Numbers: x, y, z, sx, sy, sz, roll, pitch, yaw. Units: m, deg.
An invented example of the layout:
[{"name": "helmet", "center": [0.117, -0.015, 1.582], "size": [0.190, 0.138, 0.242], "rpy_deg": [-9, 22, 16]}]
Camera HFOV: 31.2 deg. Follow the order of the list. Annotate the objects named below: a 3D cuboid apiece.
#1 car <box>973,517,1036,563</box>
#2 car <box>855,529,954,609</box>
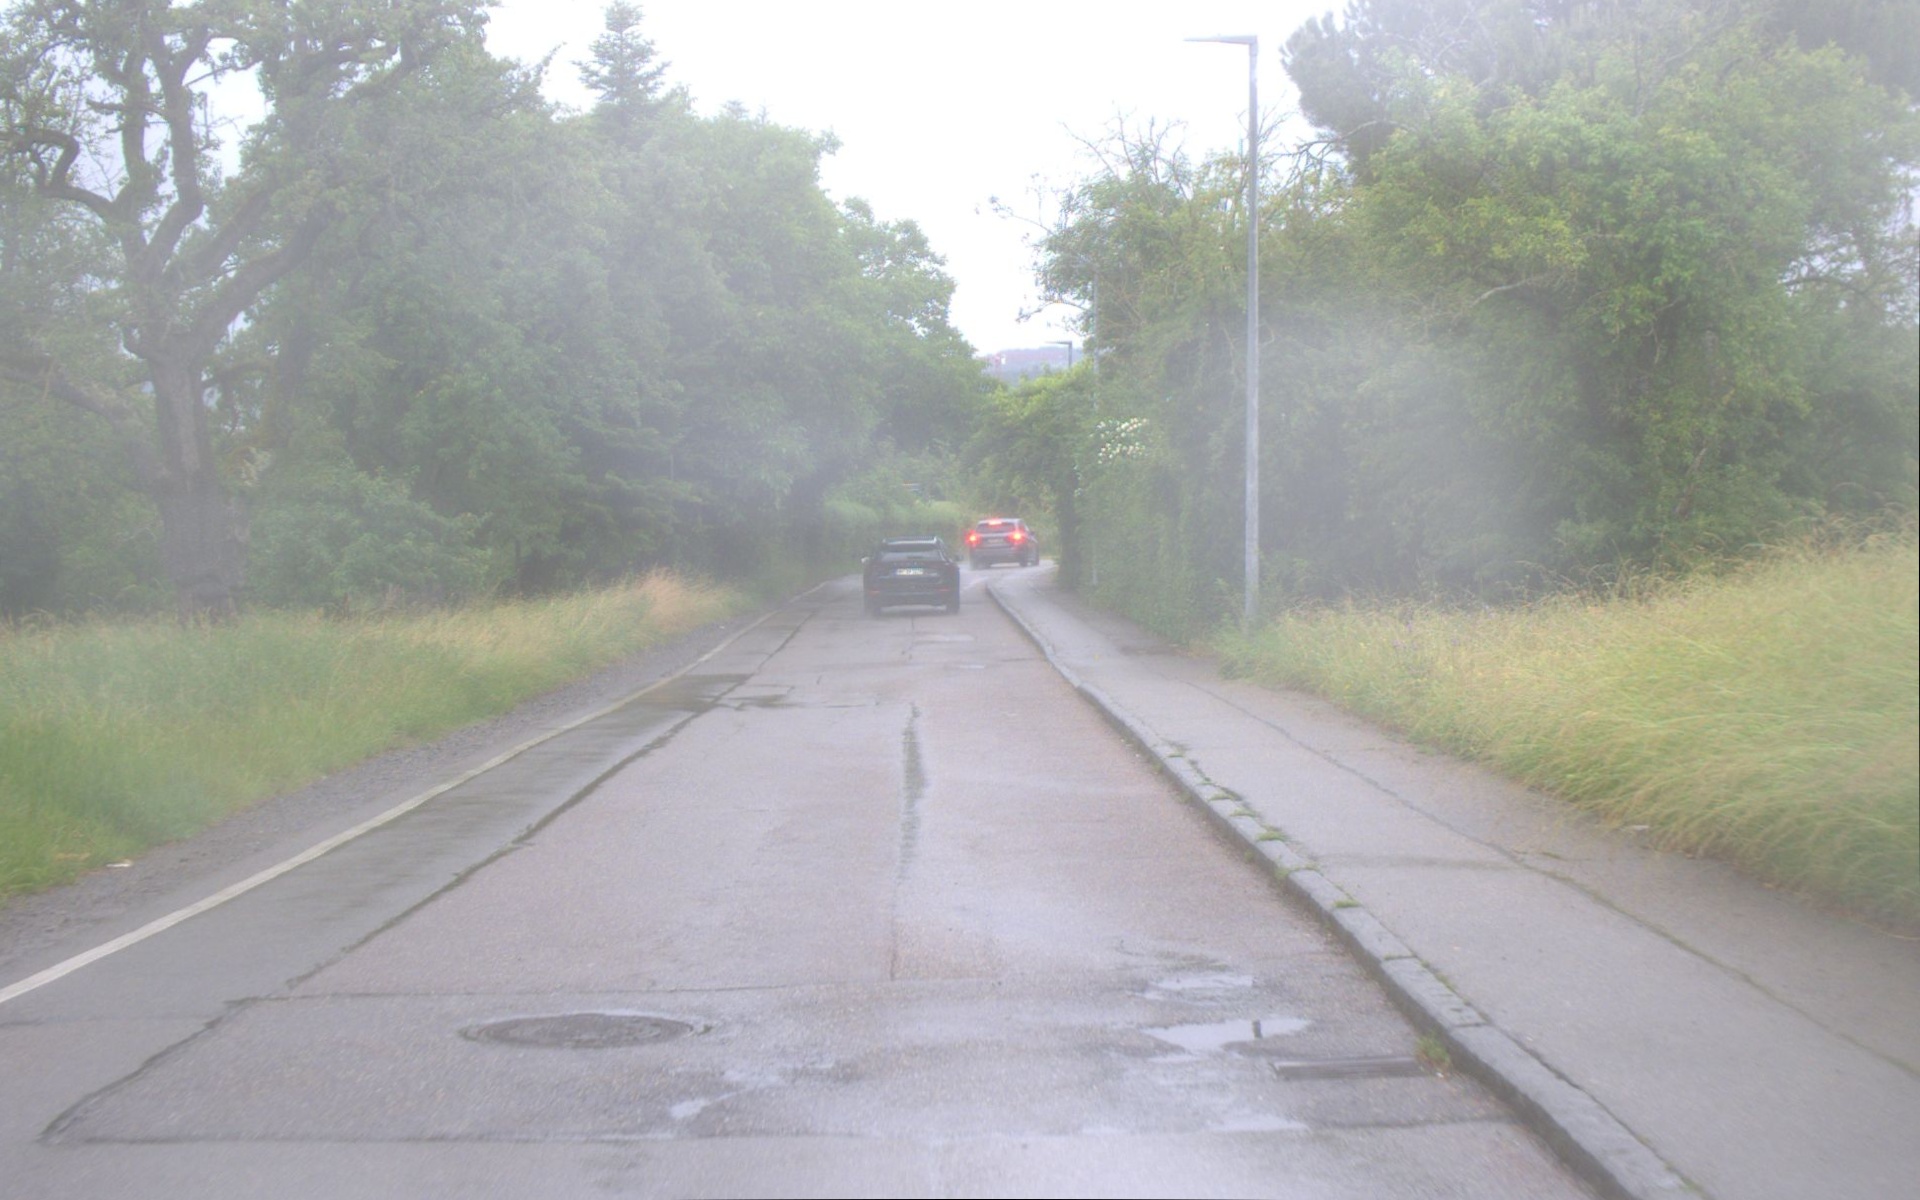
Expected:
[{"name": "car", "center": [1.426, -1.881, 108.473], "size": [1.635, 1.409, 3.544], "rpy_deg": [0, 0, 6]}, {"name": "car", "center": [-1.022, -0.574, 65.084], "size": [1.635, 1.445, 3.544], "rpy_deg": [0, 0, 3]}]
